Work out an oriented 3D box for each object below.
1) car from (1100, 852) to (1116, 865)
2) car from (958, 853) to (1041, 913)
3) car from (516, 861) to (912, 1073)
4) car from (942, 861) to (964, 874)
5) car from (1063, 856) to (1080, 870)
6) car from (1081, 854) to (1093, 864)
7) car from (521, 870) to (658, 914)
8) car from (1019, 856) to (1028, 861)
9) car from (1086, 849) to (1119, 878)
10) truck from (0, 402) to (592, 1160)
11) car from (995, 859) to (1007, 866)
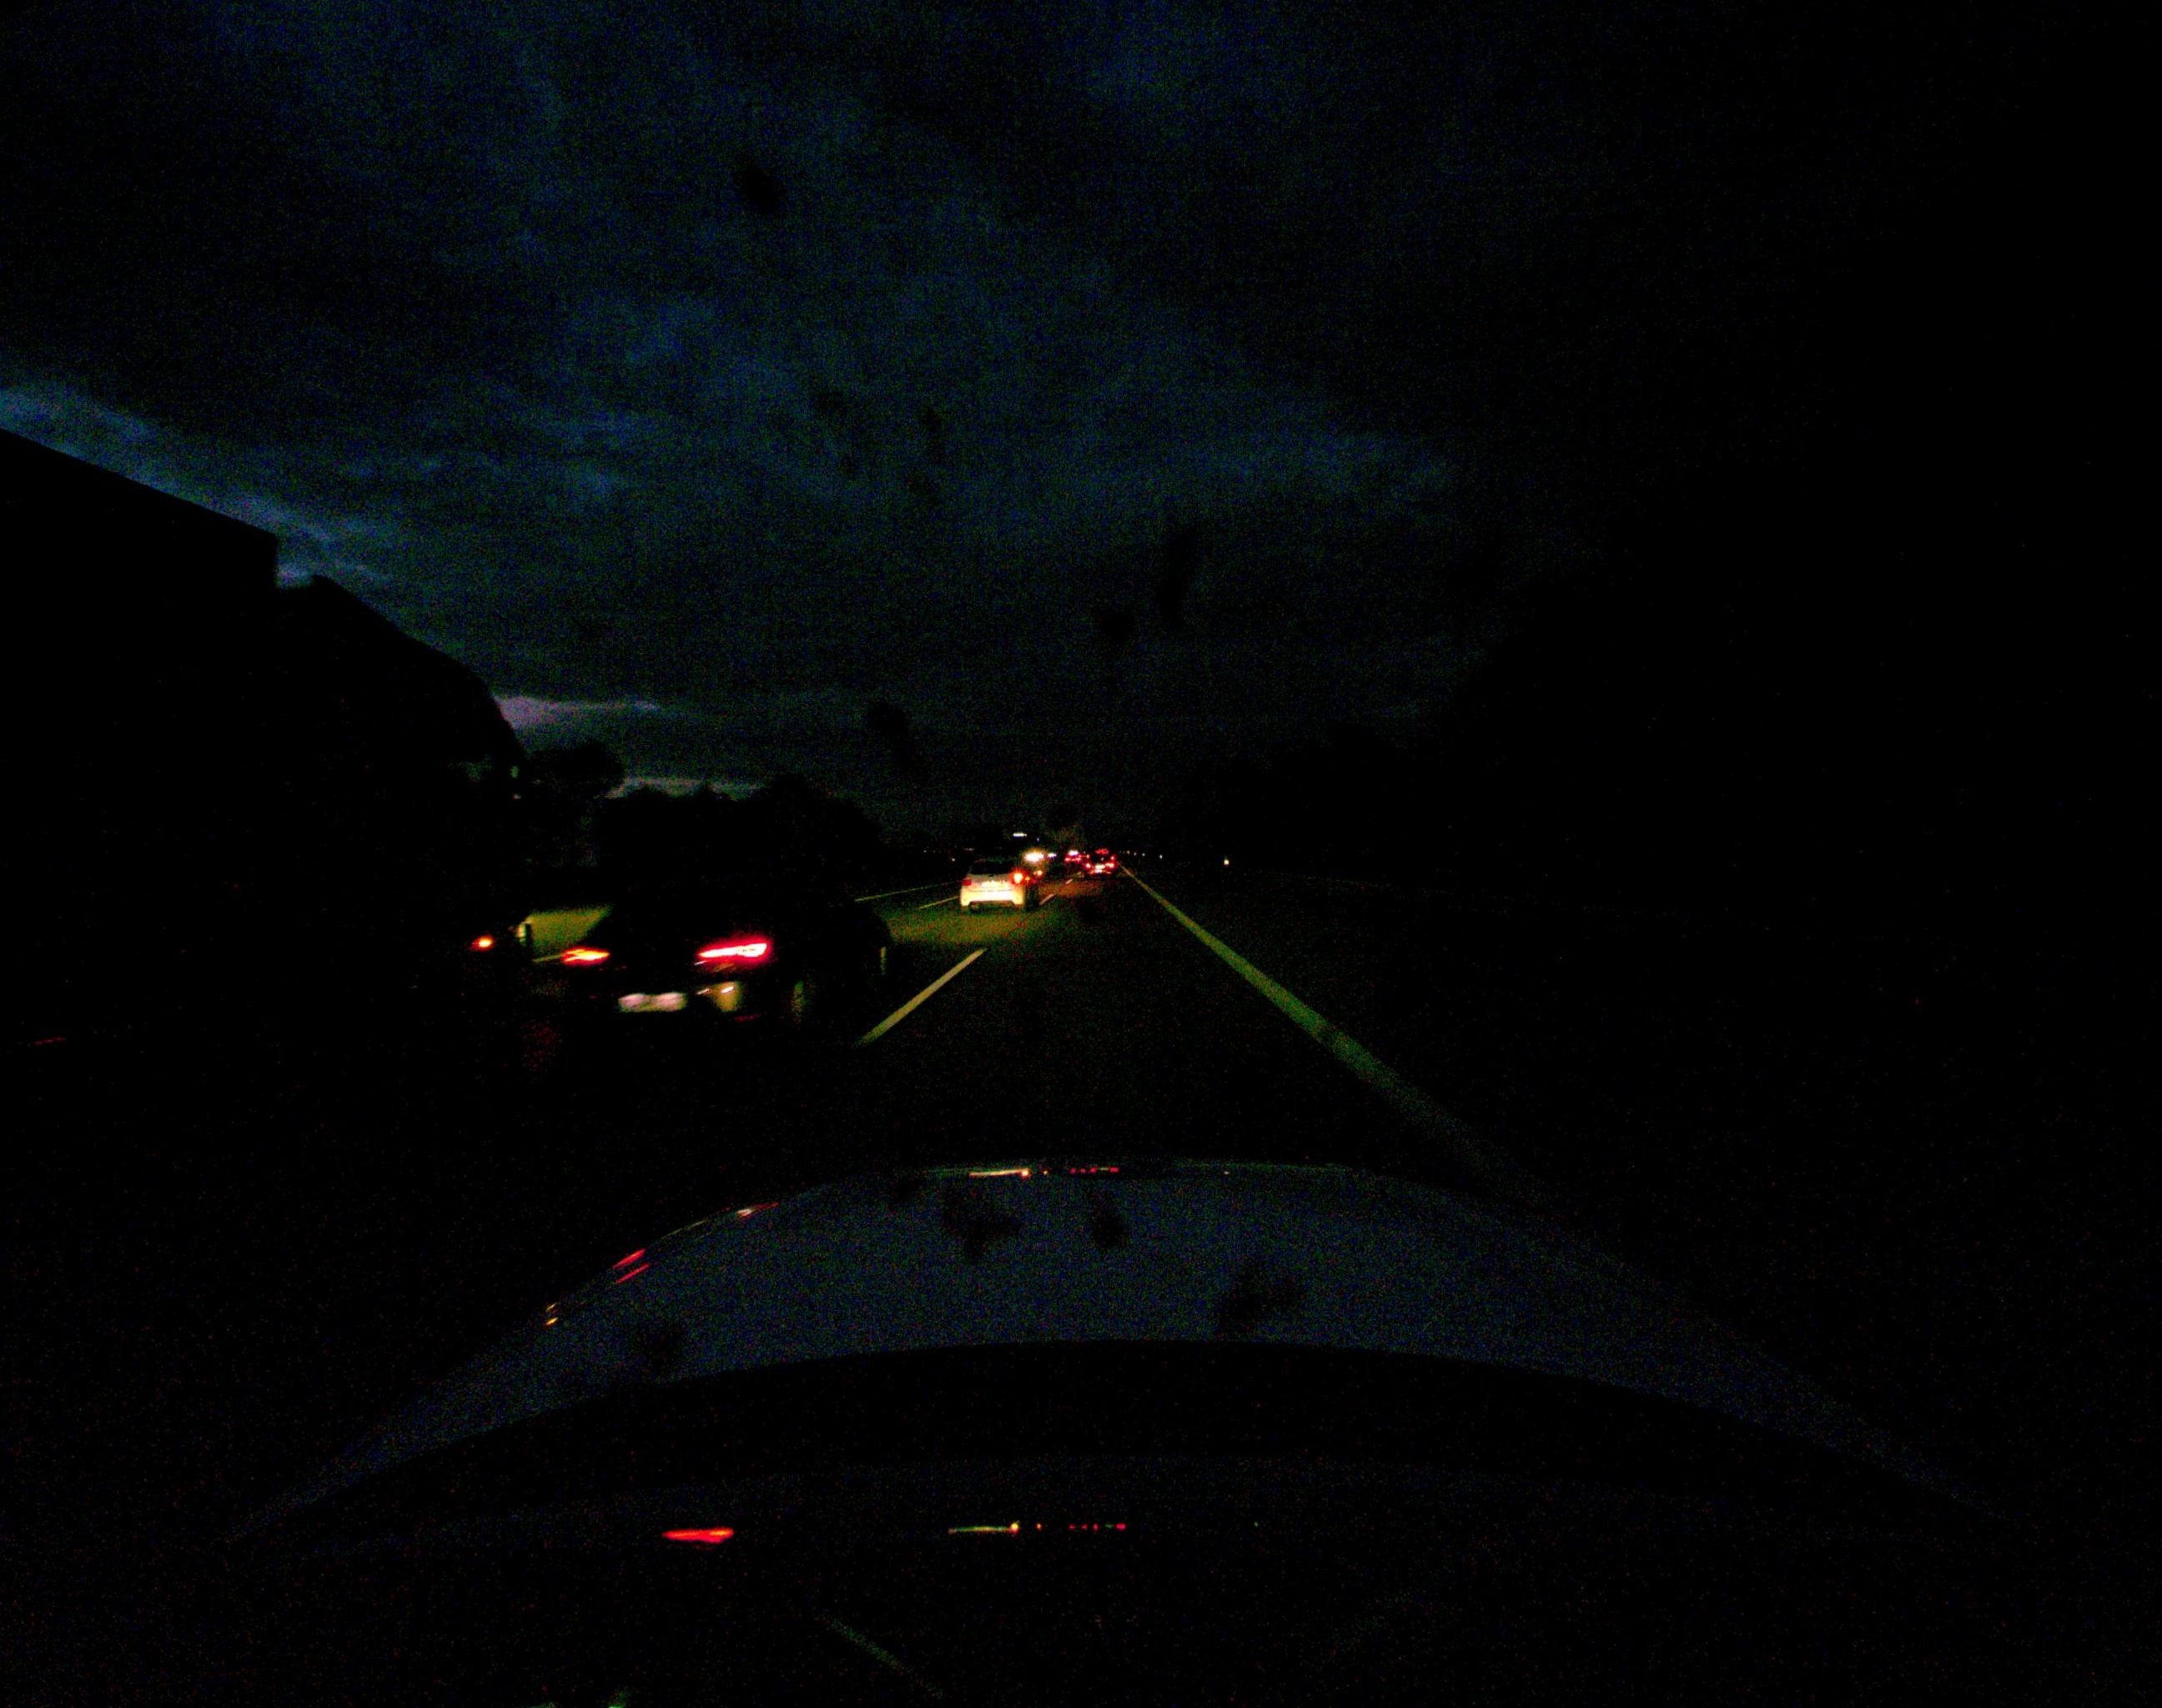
[{"bbox_3d":[3.294,0.524,100.743,1.874,1.552,4.000,-1,0,1],"label":"car"},{"bbox_3d":[-2.200,0.770,23.129,1.737,1.525,4.416,-1,0,2],"label":"car"},{"bbox_3d":[-3.082,0.816,8.112,1.716,1.471,4.727,-1,0,1],"label":"car"},{"bbox_3d":[-13.524,1.445,86.374,1.648,1.289,3.646,-1,0,1],"label":"car"},{"bbox_3d":[-1.140,1.058,97.185,1.874,1.552,4.000,-1,0,1],"label":"car"},{"bbox_3d":[1.204,0.992,153.888,2.191,1.879,4.001,-1,0,1],"label":"car"},{"bbox_3d":[-14.866,1.108,24.891,1.659,1.178,4.001,-1,0,1],"label":"car"},{"bbox_3d":[-17.215,1.374,244.165,1.986,1.521,5.838,-1,0,2],"label":"car"},{"bbox_3d":[1.291,0.556,48.394,1.873,1.643,4.001,-1,0,1],"label":"car"},{"bbox_3d":[-7.132,-0.356,6.300,2.767,4.093,6.105,-2,-1,2],"label":"truck"},{"bbox_3d":[-15.363,1.613,156.508,1.738,1.362,4.112,-1,0,1],"label":"car"}]
